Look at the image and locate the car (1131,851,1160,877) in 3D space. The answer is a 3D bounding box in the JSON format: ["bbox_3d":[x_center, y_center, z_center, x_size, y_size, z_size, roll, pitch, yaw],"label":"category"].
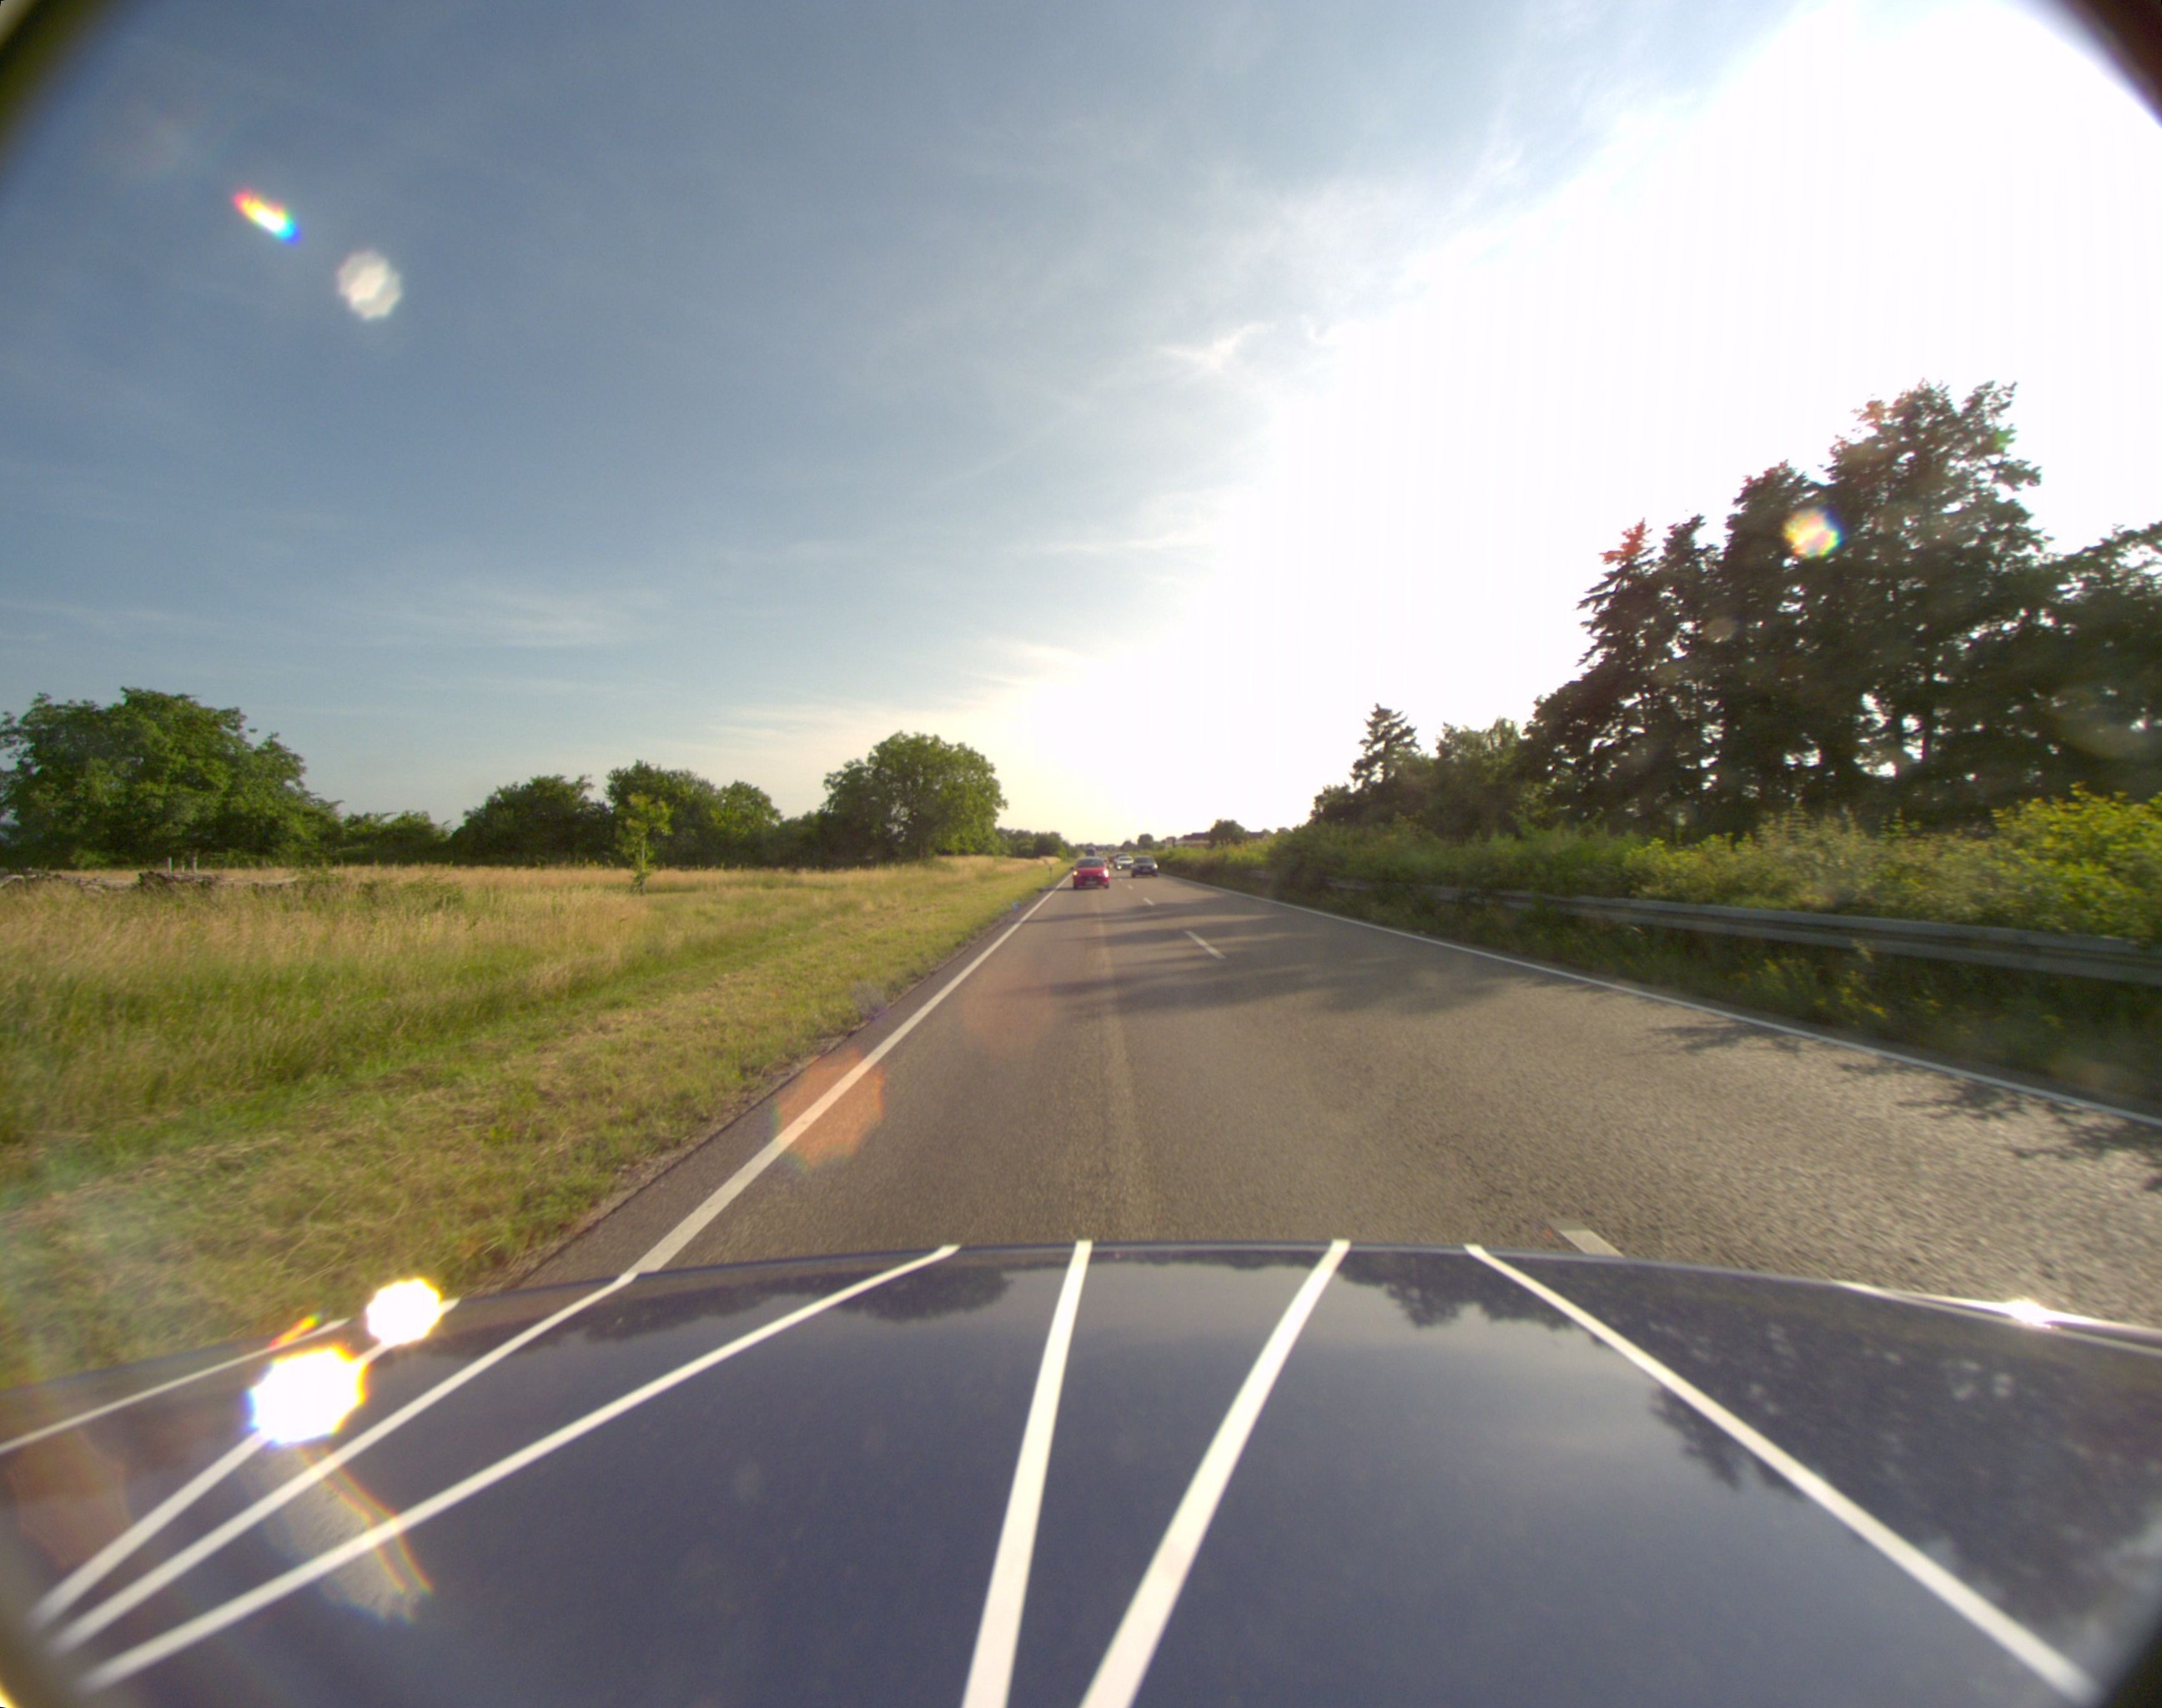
[{"bbox_3d":[4.458,0.661,52.974,1.693,1.695,4.000,-2,0,2],"label":"car"}]

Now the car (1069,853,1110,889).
[{"bbox_3d":[0.469,0.793,37.192,1.821,1.565,4.000,-2,0,2],"label":"car"}]

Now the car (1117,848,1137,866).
[{"bbox_3d":[4.812,0.328,80.009,1.998,1.762,4.000,-2,1,2],"label":"car"}]

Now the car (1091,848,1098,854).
[{"bbox_3d":[3.815,-0.870,213.022,1.998,1.412,4.000,-2,0,2],"label":"car"}]

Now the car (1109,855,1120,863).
[{"bbox_3d":[6.491,0.960,146.917,1.998,1.412,4.000,-2,0,2],"label":"car"}]

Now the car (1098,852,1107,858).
[{"bbox_3d":[4.939,0.266,176.801,1.998,1.412,4.000,-2,0,2],"label":"car"}]
